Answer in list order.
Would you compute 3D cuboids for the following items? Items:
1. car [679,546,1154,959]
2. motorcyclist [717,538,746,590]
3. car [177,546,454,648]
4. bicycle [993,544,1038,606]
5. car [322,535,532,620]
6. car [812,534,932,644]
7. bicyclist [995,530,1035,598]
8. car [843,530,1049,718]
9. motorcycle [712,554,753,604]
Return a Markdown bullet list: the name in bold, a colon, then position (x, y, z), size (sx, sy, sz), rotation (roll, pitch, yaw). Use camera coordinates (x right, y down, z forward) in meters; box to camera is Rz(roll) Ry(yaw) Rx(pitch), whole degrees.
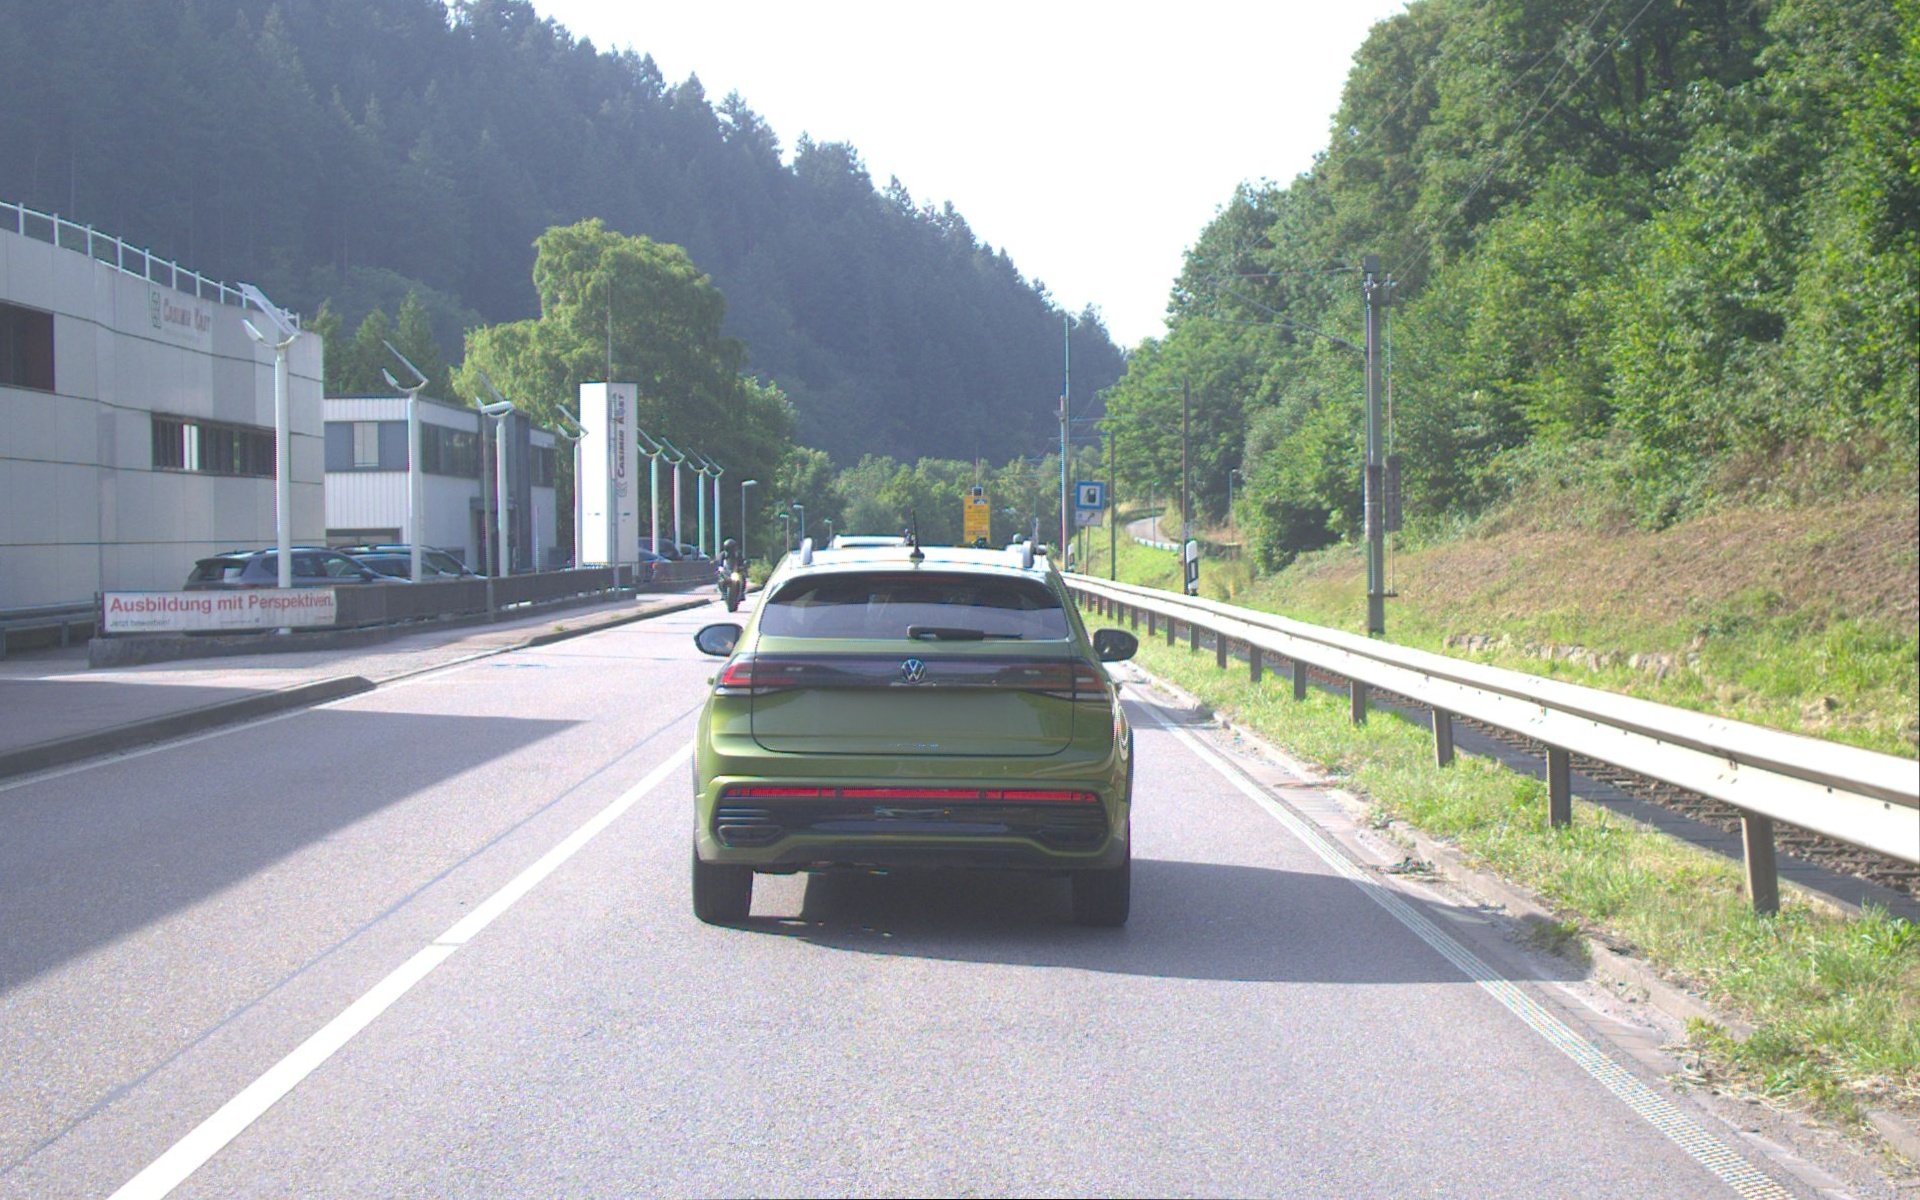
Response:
- **car**: position (-0.203, 0.530, 14.621), size (1.739, 1.503, 4.000), rotation (0, 1, -1)
- **motorcyclist**: position (-4.937, -0.781, 74.228), size (0.586, 1.121, 0.637), rotation (0, 1, 0)
- **car**: position (-10.470, -0.086, 56.046), size (1.887, 1.586, 4.165), rotation (1, 1, 42)
- **bicycle**: position (1.138, -0.530, 71.104), size (0.811, 1.246, 2.123), rotation (0, 1, -2)
- **car**: position (-10.992, -0.494, 71.063), size (1.780, 1.702, 4.101), rotation (1, 1, 42)
- **car**: position (-1.329, -0.198, 52.200), size (1.739, 1.596, 4.000), rotation (0, 1, -1)
- **bicyclist**: position (1.139, -0.747, 71.206), size (0.781, 1.407, 0.675), rotation (0, 1, -2)
- **car**: position (-0.164, 0.168, 31.313), size (1.739, 1.596, 4.000), rotation (0, 1, -1)
- **motorcycle**: position (-4.891, -0.461, 73.951), size (0.741, 1.065, 2.492), rotation (0, 1, 0)
